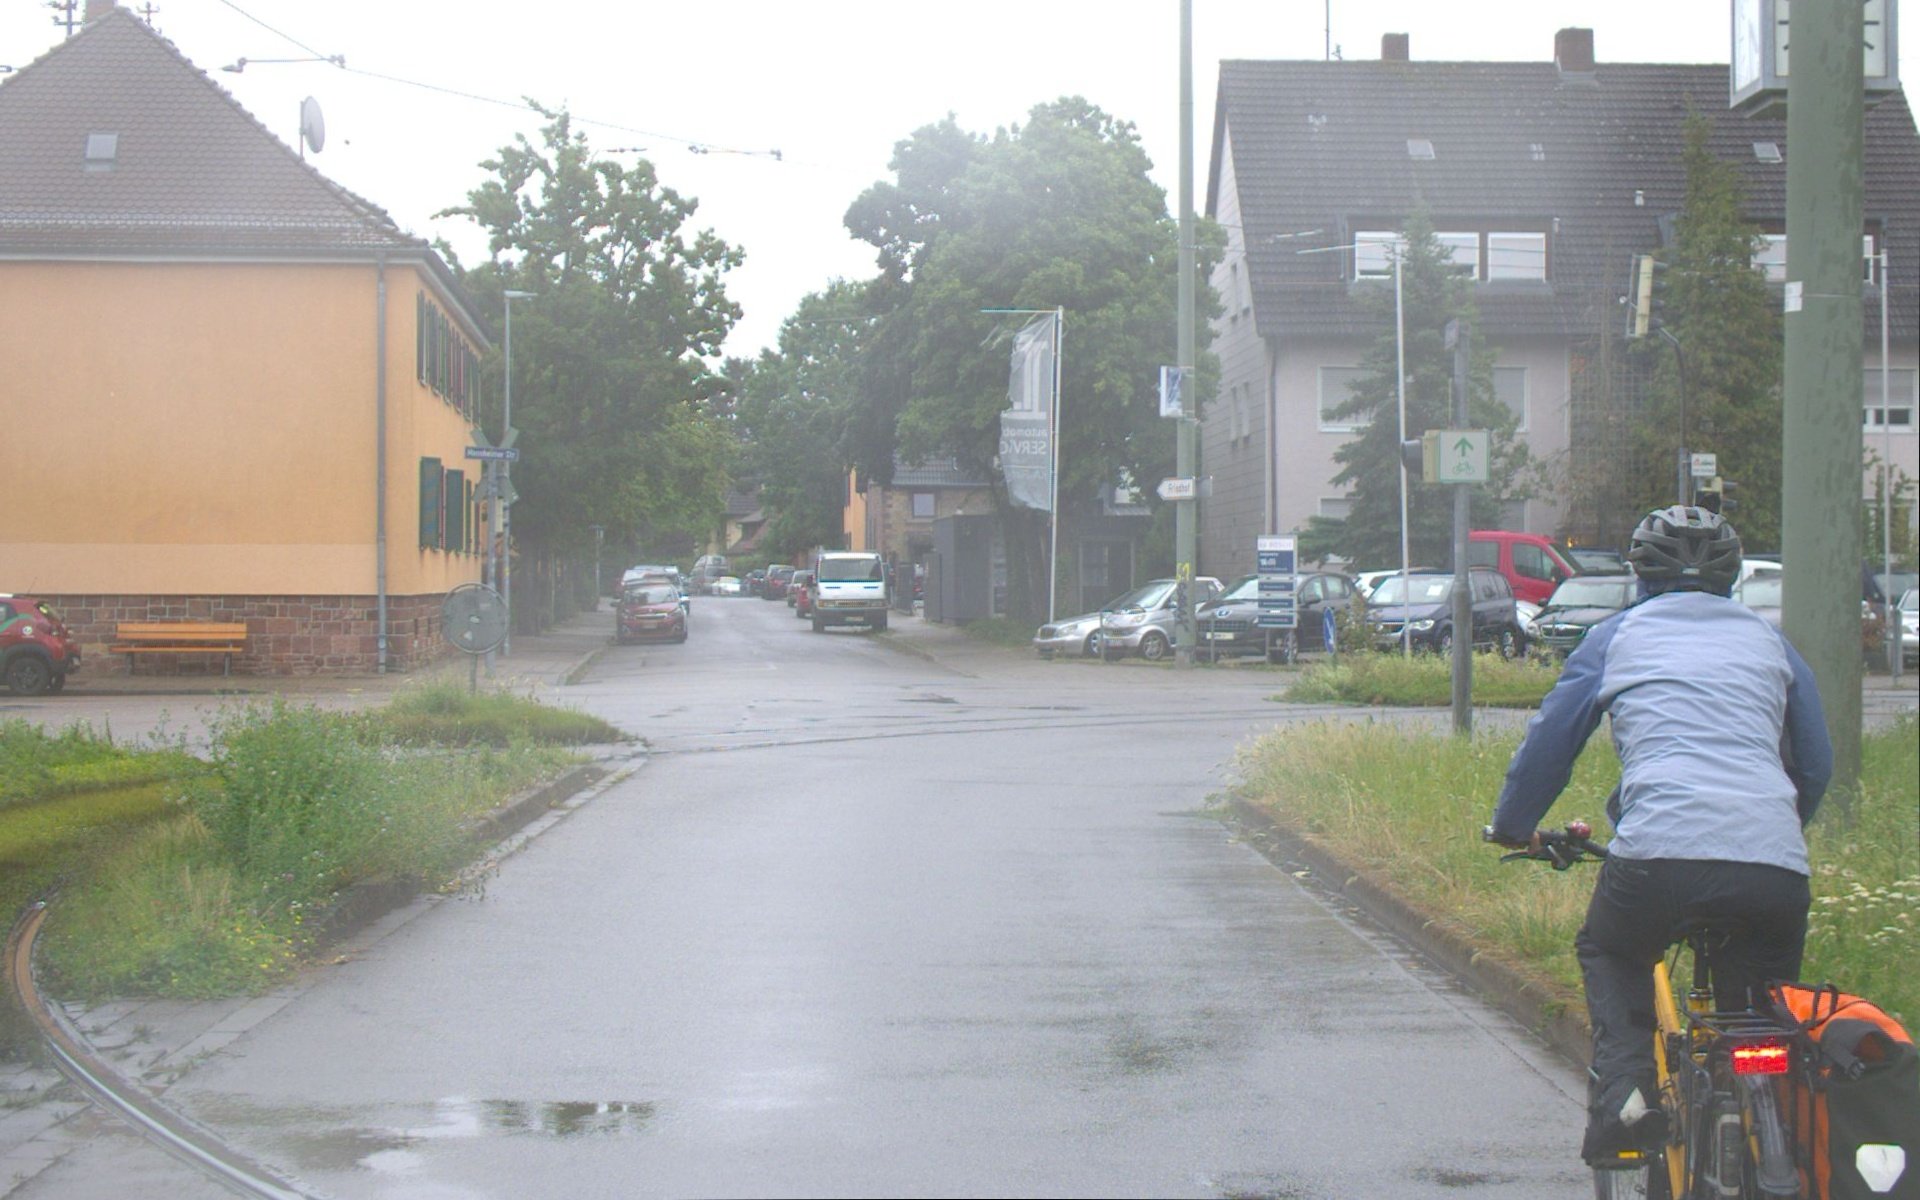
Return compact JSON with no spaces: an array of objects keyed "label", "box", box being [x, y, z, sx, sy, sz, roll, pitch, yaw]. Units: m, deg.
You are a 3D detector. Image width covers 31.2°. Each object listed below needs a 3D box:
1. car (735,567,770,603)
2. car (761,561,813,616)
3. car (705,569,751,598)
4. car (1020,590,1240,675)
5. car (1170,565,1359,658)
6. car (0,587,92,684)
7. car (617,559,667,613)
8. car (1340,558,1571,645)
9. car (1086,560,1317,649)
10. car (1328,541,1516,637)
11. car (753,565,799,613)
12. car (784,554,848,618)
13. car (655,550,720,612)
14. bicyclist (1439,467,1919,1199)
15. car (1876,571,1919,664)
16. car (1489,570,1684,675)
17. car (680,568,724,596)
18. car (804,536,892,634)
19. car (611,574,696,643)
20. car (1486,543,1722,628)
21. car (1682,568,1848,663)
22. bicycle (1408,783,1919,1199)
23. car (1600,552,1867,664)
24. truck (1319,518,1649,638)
[{"label":"car","box":[-11.926,-0.858,197.666,1.828,2.007,4.001,2,0,-5]},{"label":"car","box":[-6.720,-0.450,133.336,1.828,2.007,4.001,2,0,-5]},{"label":"car","box":[-14.591,-1.051,215.883,1.828,1.691,4.033,2,0,-19]},{"label":"car","box":[3.298,0.605,66.743,3.858,1.573,1.808,-1,0,-22]},{"label":"car","box":[5.363,0.182,60.166,1.805,1.573,3.865,0,0,30]},{"label":"car","box":[-14.718,0.467,50.348,3.604,1.334,1.723,2,0,-5]},{"label":"car","box":[-12.343,-0.547,133.683,1.828,2.007,4.001,2,0,-5]},{"label":"car","box":[9.217,0.043,63.883,3.969,1.592,1.998,0,-1,18]},{"label":"car","box":[4.472,0.075,63.660,3.858,1.573,1.808,-1,0,-22]},{"label":"car","box":[7.905,-0.191,58.588,1.805,1.573,3.865,0,0,30]},{"label":"car","box":[-8.145,-0.486,152.102,1.828,2.007,4.001,2,0,-5]},{"label":"car","box":[-4.777,-0.455,113.683,1.993,2.007,4.000,2,0,-3]},{"label":"car","box":[-9.272,-0.645,117.322,1.993,2.007,4.000,2,0,-3]},{"label":"bicyclist","box":[1.345,0.512,6.430,0.751,1.480,0.846,-1,0,0]},{"label":"car","box":[16.601,0.319,58.360,1.829,1.499,4.056,2,0,13]},{"label":"car","box":[10.647,0.356,58.219,1.997,1.711,3.993,0,0,30]},{"label":"car","box":[-16.599,-1.155,221.249,1.828,1.691,4.033,2,0,-19]},{"label":"car","box":[-3.127,-0.427,95.433,2.153,2.564,4.134,2,0,-5]},{"label":"car","box":[-7.372,0.212,82.926,1.993,1.612,4.000,0,0,-4]},{"label":"car","box":[13.086,-0.283,70.086,4.432,1.682,2.000,0,-1,0]},{"label":"car","box":[13.704,0.279,58.380,1.830,1.499,4.052,2,0,26]},{"label":"bicycle","box":[1.358,0.941,6.468,0.752,1.069,1.927,-1,0,0]},{"label":"car","box":[14.145,0.156,63.027,4.432,2.007,2.000,0,-1,0]},{"label":"truck","box":[10.185,-0.394,66.821,6.088,2.264,1.998,0,-1,18]}]
